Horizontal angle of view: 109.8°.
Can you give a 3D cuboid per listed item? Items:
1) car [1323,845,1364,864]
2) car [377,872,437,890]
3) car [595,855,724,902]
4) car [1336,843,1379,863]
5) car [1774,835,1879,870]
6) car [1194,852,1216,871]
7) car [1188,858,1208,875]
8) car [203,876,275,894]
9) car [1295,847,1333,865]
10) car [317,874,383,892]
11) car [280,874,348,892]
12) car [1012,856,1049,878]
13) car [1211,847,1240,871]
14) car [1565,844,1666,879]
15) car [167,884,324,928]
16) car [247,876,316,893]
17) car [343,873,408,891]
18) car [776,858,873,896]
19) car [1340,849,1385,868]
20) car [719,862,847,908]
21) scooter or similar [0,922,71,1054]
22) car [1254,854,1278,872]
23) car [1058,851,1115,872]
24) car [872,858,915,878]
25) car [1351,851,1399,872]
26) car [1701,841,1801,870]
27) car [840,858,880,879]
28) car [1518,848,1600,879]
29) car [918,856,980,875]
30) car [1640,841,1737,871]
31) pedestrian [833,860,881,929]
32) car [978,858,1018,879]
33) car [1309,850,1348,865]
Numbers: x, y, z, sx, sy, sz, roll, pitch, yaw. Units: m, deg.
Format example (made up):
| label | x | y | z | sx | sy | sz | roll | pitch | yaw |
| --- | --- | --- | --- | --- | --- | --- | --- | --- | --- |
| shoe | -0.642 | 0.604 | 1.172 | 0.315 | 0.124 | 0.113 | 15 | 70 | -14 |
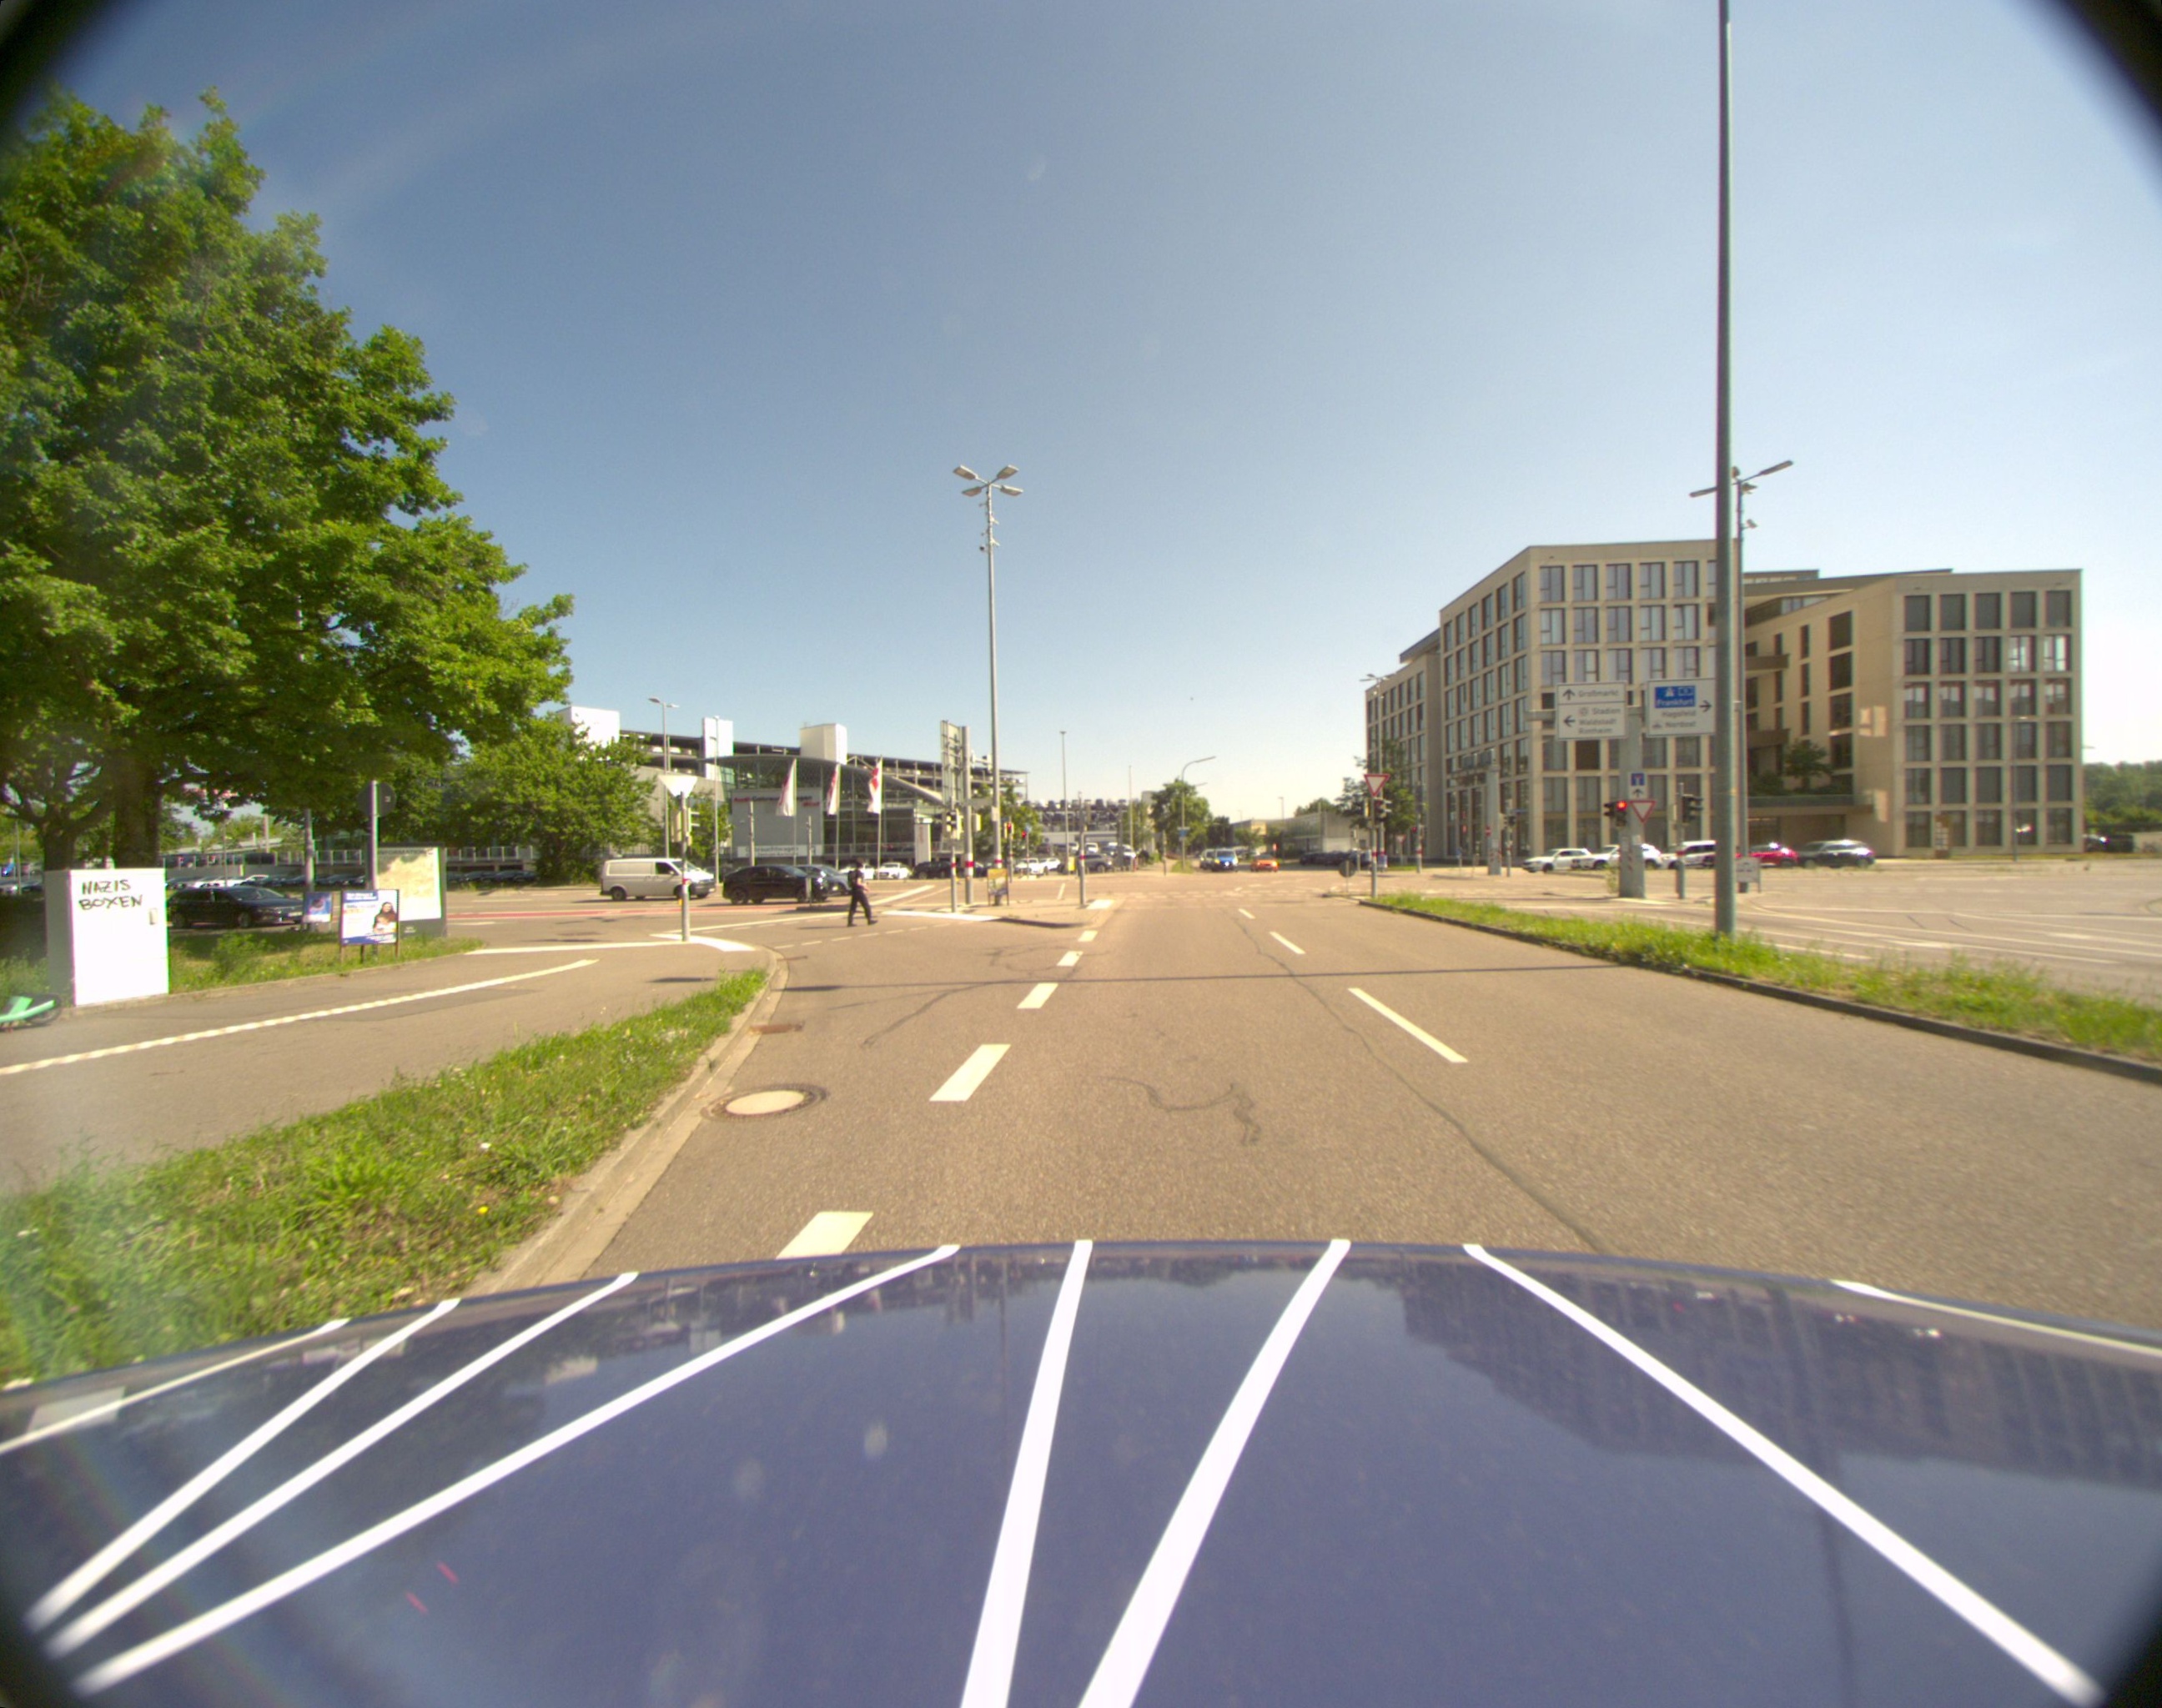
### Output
| label | x | y | z | sx | sy | sz | roll | pitch | yaw |
| --- | --- | --- | --- | --- | --- | --- | --- | --- | --- |
| car | 27.987 | 0.081 | 81.028 | 3.990 | 2.002 | 2.003 | -1 | 0 | 24 |
| car | -52.485 | 2.075 | 59.209 | 1.639 | 1.317 | 3.173 | -1 | 0 | 8 |
| car | -19.560 | 1.101 | 35.365 | 4.996 | 1.996 | 1.741 | -1 | 2 | 2 |
| car | 28.396 | -0.072 | 77.945 | 3.990 | 2.002 | 2.003 | -1 | 0 | 24 |
| car | 43.677 | -0.114 | 44.584 | 4.239 | 1.878 | 1.835 | -2 | 1 | 4 |
| car | 11.159 | 0.666 | 68.655 | 1.666 | 1.548 | 3.856 | -1 | 1 | 5 |
| car | 11.810 | 1.226 | 76.441 | 1.912 | 1.485 | 3.867 | -1 | 1 | 10 |
| car | -65.486 | 2.358 | 59.183 | 1.593 | 1.242 | 3.419 | -1 | 0 | 8 |
| car | 27.060 | 0.223 | 88.118 | 3.990 | 2.002 | 2.003 | -1 | 0 | 24 |
| car | -56.855 | 2.215 | 59.177 | 1.593 | 1.242 | 3.419 | -1 | 0 | 9 |
| car | -59.668 | 2.269 | 59.148 | 1.593 | 1.242 | 3.419 | -1 | 0 | 8 |
| car | -3.777 | 0.976 | 57.313 | 1.886 | 1.452 | 4.002 | -1 | 1 | 9 |
| car | 11.755 | 0.388 | 61.655 | 2.183 | 1.898 | 4.735 | -1 | 0 | 12 |
| car | 29.947 | 0.393 | 42.661 | 4.309 | 1.827 | 2.026 | -2 | 1 | -1 |
| car | -30.722 | 1.890 | 28.005 | 4.233 | 1.456 | 1.773 | 0 | 1 | 8 |
| car | -62.741 | 2.376 | 59.698 | 1.593 | 1.242 | 3.419 | -1 | 0 | 8 |
| car | -54.751 | 2.126 | 59.029 | 1.593 | 1.242 | 3.419 | -1 | 0 | 8 |
| car | -11.863 | 1.043 | 35.281 | 3.825 | 1.603 | 1.761 | -1 | 1 | 9 |
| car | 27.559 | 0.449 | 74.318 | 3.990 | 1.816 | 2.003 | -1 | 0 | 24 |
| car | -12.243 | 1.248 | 31.373 | 4.500 | 1.618 | 1.715 | -2 | 1 | 2 |
| scooter or similar | -10.096 | 1.250 | 6.785 | 0.402 | 1.160 | 1.186 | -1 | 1 | 21 |
| car | 14.913 | 0.690 | 61.237 | 1.737 | 1.356 | 3.869 | -1 | 0 | 12 |
| car | 0.494 | 0.630 | 61.725 | 4.477 | 1.578 | 1.980 | -1 | 0 | 4 |
| car | -14.175 | 1.009 | 57.634 | 2.003 | 1.413 | 4.115 | -1 | 0 | 3 |
| car | 27.483 | 0.683 | 71.116 | 3.992 | 1.728 | 2.002 | -3 | 1 | 18 |
| car | 37.021 | 0.072 | 42.063 | 4.116 | 1.518 | 1.531 | -1 | 0 | 1 |
| car | -16.755 | 1.092 | 57.684 | 1.785 | 1.462 | 3.889 | -1 | 0 | 1 |
| car | 28.754 | 0.554 | 45.777 | 3.764 | 1.703 | 1.833 | -2 | 1 | -2 |
| car | -10.076 | 0.834 | 58.132 | 4.348 | 1.342 | 1.822 | -1 | 0 | 2 |
| car | 36.244 | 0.122 | 45.433 | 4.228 | 1.701 | 1.904 | -1 | 0 | 1 |
| pedestrian | -5.927 | 1.061 | 20.149 | 0.704 | 1.769 | 0.961 | -1 | 1 | 28 |
| car | -6.235 | 1.060 | 57.289 | 1.997 | 1.452 | 4.003 | -1 | 0 | 9 |
| car | 27.776 | 0.425 | 85.231 | 3.990 | 1.605 | 2.003 | -1 | 0 | 24 |
